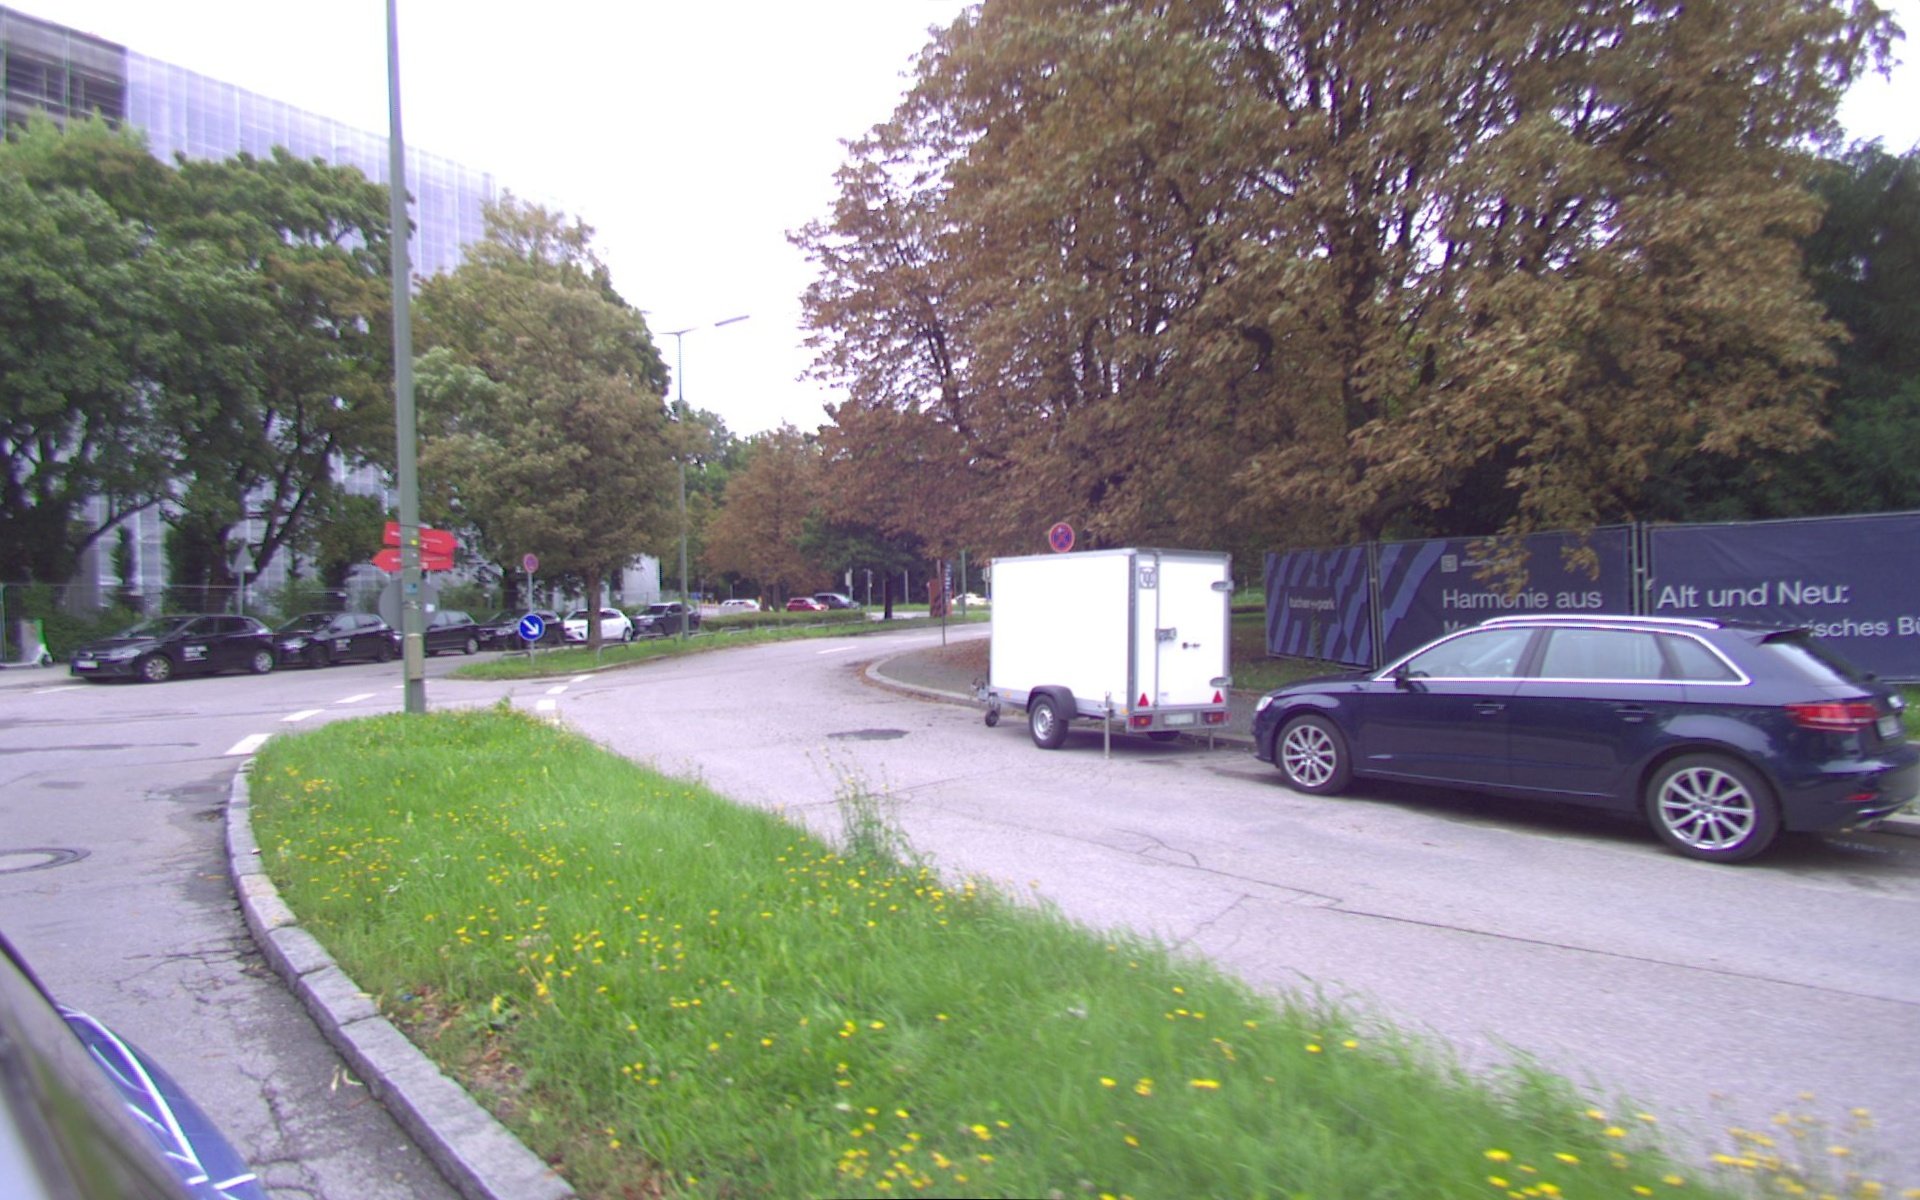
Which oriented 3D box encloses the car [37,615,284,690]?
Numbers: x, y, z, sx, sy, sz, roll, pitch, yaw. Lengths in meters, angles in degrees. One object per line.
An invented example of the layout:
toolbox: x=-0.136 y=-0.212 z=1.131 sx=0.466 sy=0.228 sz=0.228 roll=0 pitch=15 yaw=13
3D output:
car: x=-17.469 y=1.079 z=22.397 sx=1.978 sy=1.443 sz=4.031 roll=1 pitch=0 yaw=9

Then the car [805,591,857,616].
car: x=-10.879 y=0.305 z=85.406 sx=3.982 sy=2.029 sz=1.981 roll=-1 pitch=-1 yaw=28

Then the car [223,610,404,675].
car: x=-16.950 y=1.069 z=26.777 sx=1.976 sy=1.553 sz=3.992 roll=-1 pitch=-1 yaw=7

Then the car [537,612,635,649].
car: x=-14.968 y=1.194 z=40.736 sx=1.783 sy=1.394 sz=4.203 roll=-2 pitch=-1 yaw=11

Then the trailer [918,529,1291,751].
trailer: x=1.363 y=0.419 z=11.827 sx=1.783 sy=2.029 sz=4.849 roll=-1 pitch=-1 yaw=-27

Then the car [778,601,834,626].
car: x=-12.636 y=1.097 z=82.937 sx=4.138 sy=2.029 sz=1.981 roll=-1 pitch=-1 yaw=28

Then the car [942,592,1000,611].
car: x=0.941 y=0.167 z=88.755 sx=4.839 sy=1.557 sz=1.872 roll=-1 pitch=-1 yaw=33

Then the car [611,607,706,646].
car: x=-13.390 y=1.196 z=45.200 sx=1.877 sy=1.618 sz=4.367 roll=-2 pitch=-3 yaw=20

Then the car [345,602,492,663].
car: x=-16.559 y=0.958 z=31.189 sx=1.977 sy=1.719 sz=3.989 roll=0 pitch=-1 yaw=9

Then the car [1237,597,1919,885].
car: x=4.353 y=0.750 z=7.220 sx=1.847 sy=1.448 sz=4.337 roll=0 pitch=-1 yaw=-38

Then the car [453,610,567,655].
car: x=-15.847 y=1.131 z=35.890 sx=1.819 sy=1.472 sz=3.995 roll=-2 pitch=-1 yaw=9
